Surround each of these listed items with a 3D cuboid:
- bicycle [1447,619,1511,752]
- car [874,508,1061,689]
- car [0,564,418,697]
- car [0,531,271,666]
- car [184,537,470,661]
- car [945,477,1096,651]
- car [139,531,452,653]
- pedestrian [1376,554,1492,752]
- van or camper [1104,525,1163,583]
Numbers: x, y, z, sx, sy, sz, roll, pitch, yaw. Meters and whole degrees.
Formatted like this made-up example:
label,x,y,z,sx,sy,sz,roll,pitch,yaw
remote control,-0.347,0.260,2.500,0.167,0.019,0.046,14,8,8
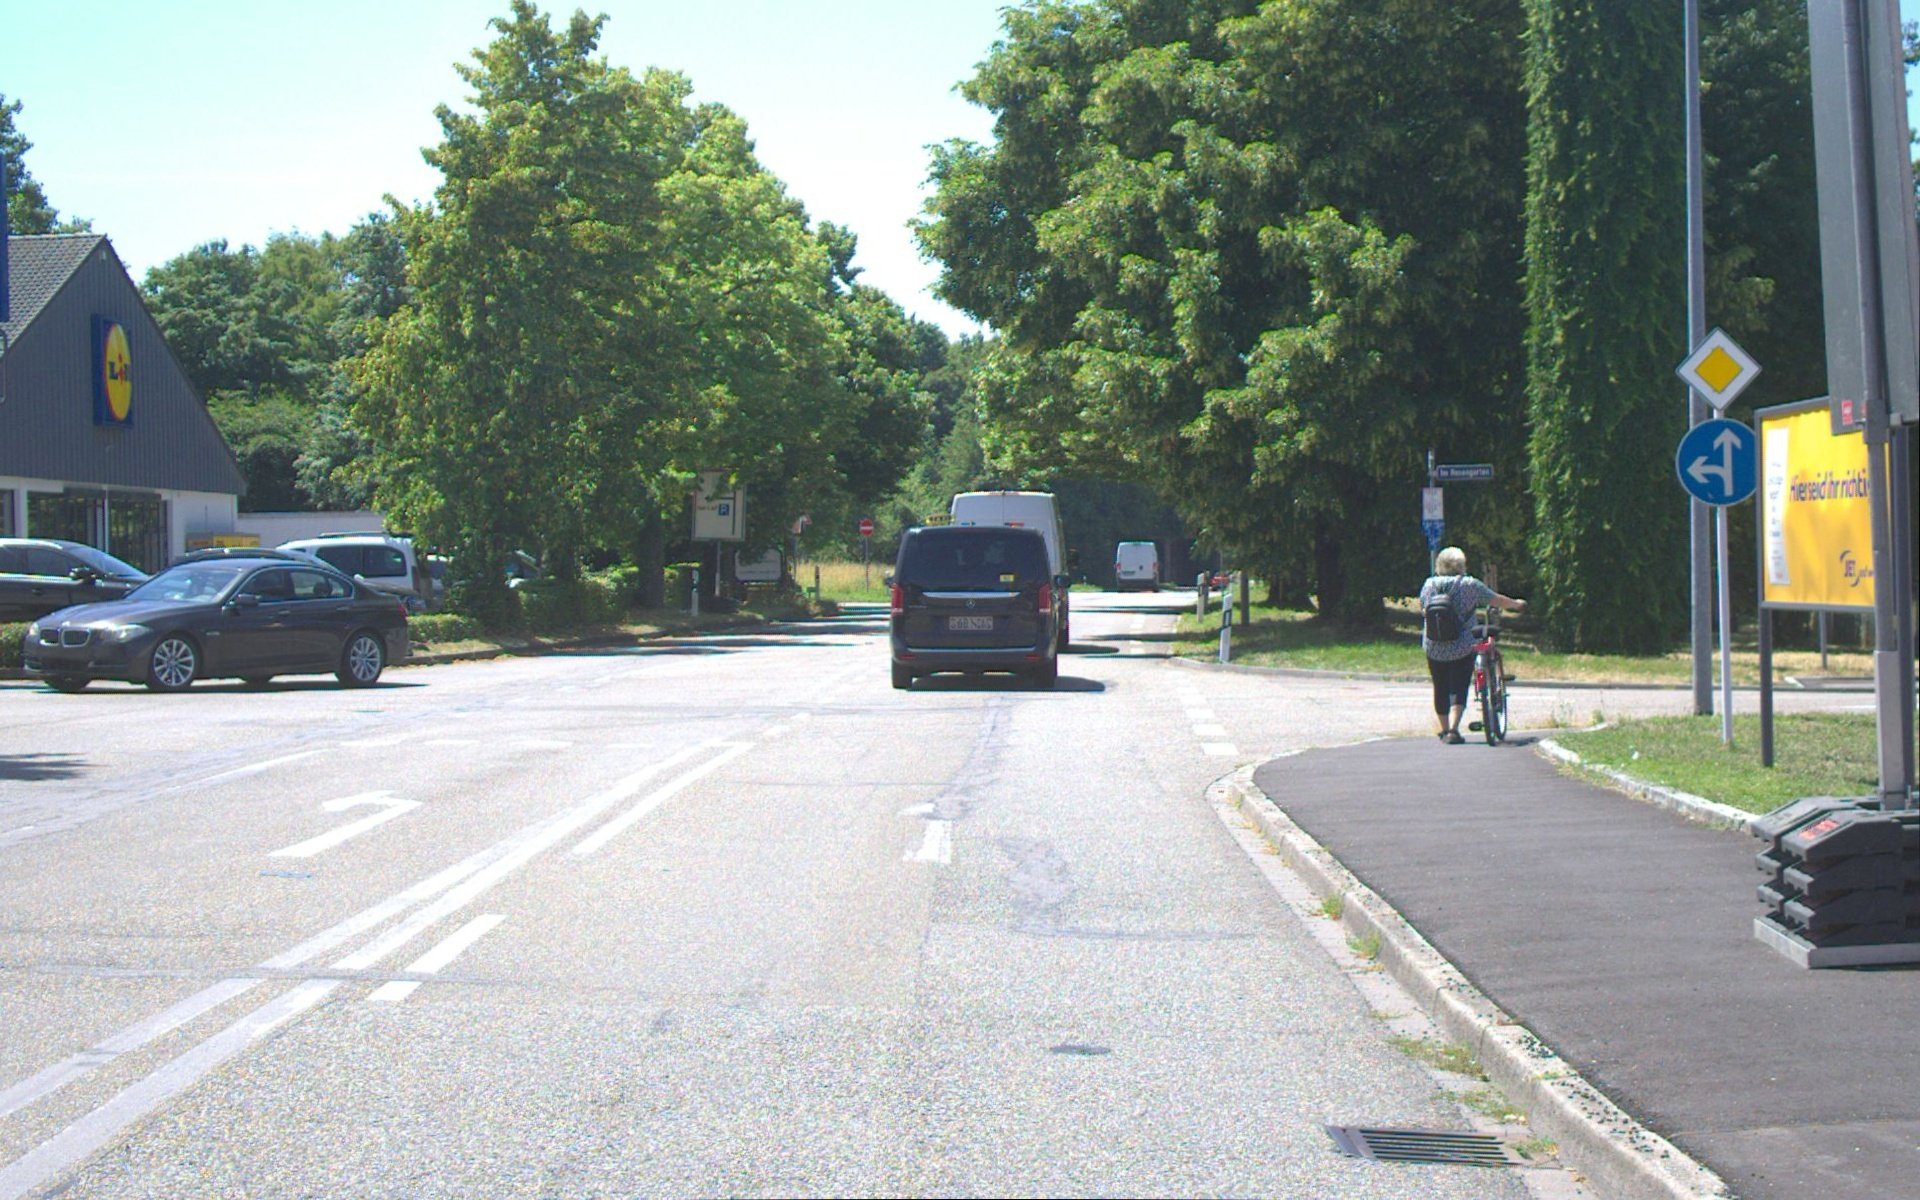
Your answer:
label,x,y,z,sx,sy,sz,roll,pitch,yaw
bicycle,3.756,0.601,24.833,0.378,0.909,1.597,0,1,11
car,0.151,-0.033,40.424,1.993,1.946,5.004,2,0,2
car,-8.411,0.333,38.610,1.936,1.396,4.727,0,0,33
car,-11.981,-0.033,46.707,4.709,1.756,2.098,1,0,7
car,-10.439,-0.011,56.892,4.356,1.973,1.905,1,0,1
car,1.047,-0.579,56.526,2.078,2.693,4.665,2,0,5
car,-10.440,-0.124,54.174,4.387,1.839,2.103,1,0,9
pedestrian,3.463,0.375,25.087,0.769,1.416,0.867,0,0,12
van or camper,8.891,-2.342,176.666,2.631,2.919,5.207,1,0,-1
